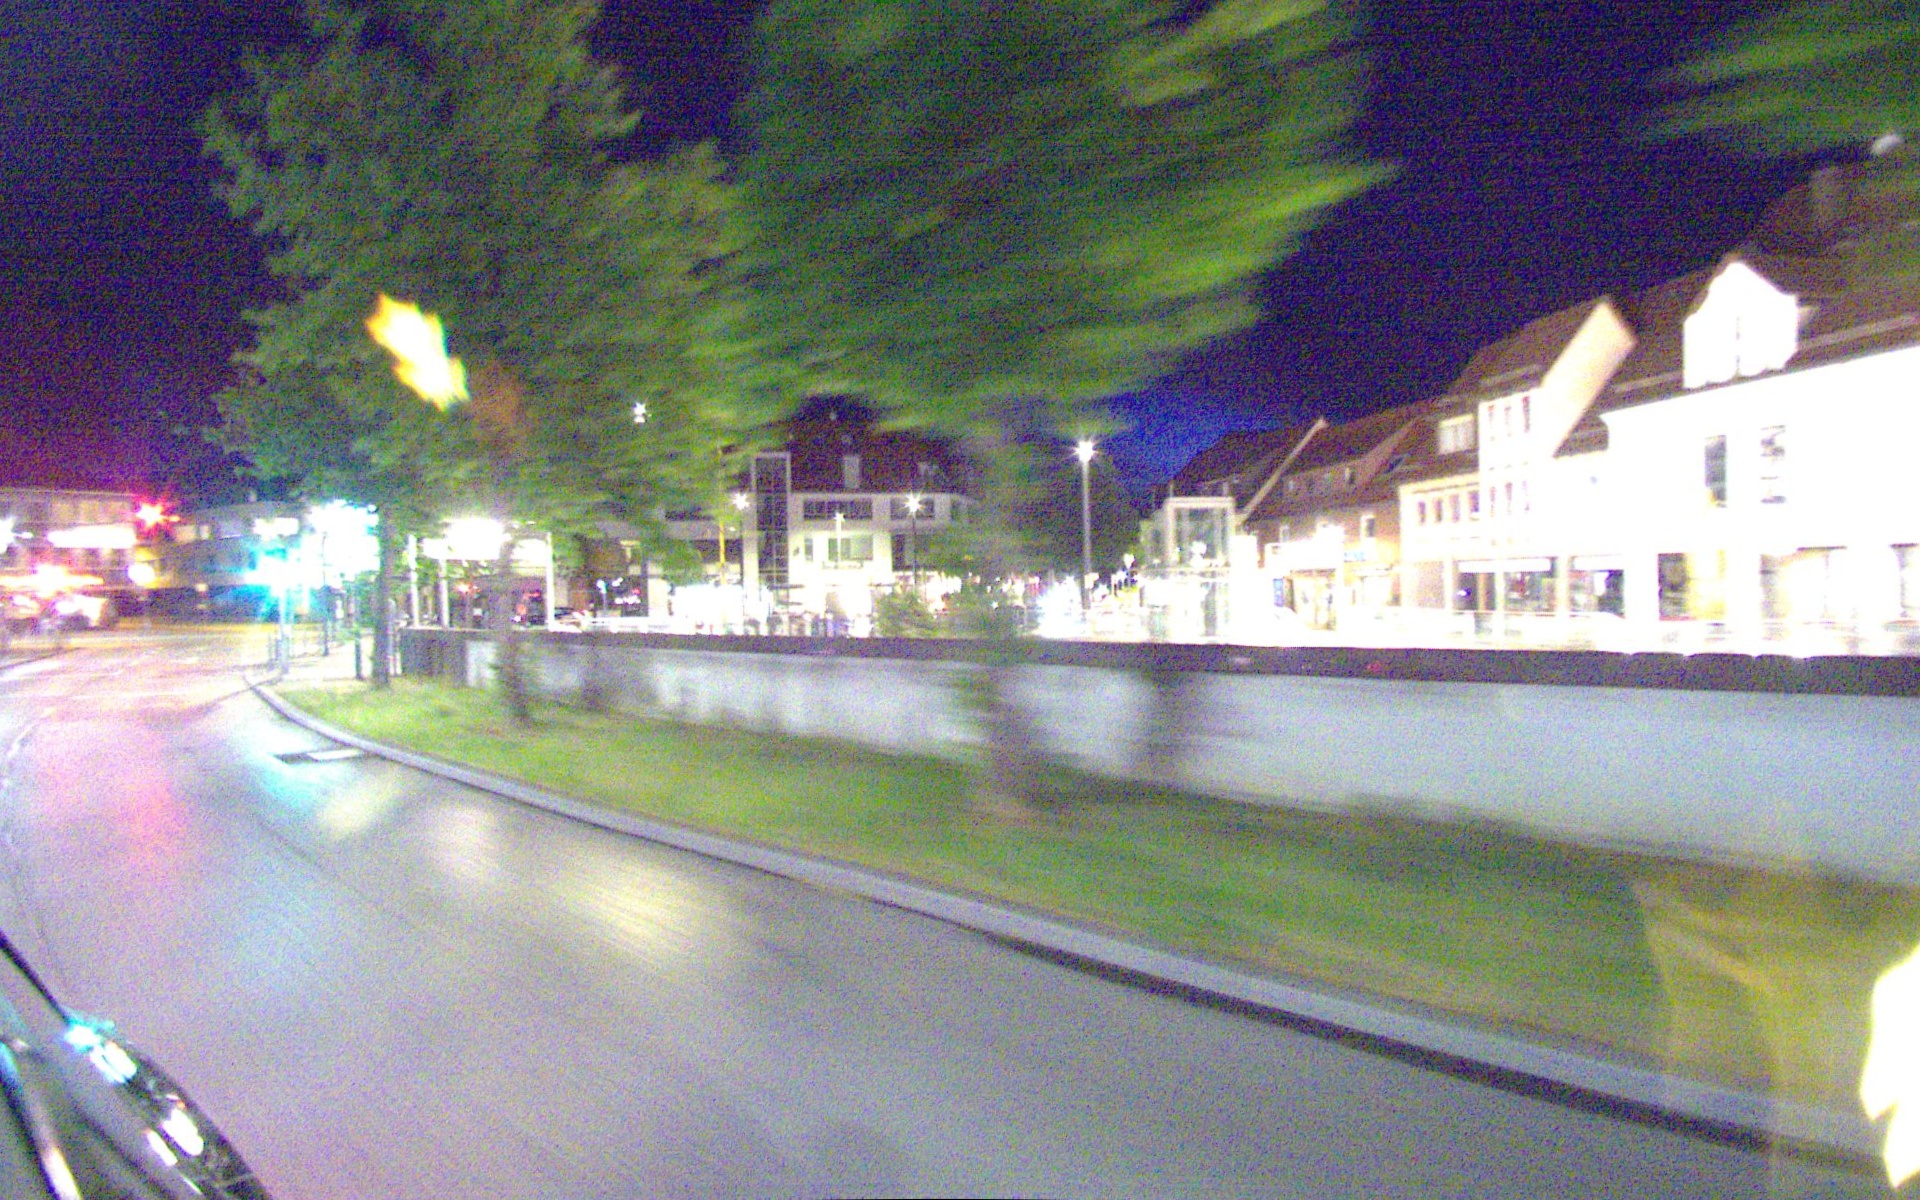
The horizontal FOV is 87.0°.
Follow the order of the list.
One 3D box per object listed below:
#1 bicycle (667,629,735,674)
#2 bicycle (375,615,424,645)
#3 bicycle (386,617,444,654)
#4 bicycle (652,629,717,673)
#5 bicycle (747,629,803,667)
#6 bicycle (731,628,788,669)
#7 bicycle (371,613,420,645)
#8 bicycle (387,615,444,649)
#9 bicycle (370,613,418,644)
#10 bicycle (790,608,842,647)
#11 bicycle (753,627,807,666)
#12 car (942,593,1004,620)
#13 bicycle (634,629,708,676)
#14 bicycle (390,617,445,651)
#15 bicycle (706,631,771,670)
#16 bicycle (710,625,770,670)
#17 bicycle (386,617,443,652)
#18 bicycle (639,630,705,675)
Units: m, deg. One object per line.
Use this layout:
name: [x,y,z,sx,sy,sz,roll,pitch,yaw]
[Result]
bicycle: [-6.916,1.371,27.015,1.735,1.174,0.604,-2,-2,23]
bicycle: [-24.513,1.297,44.288,1.808,1.166,0.789,-4,2,-30]
bicycle: [-17.705,1.147,32.886,1.594,1.114,0.672,-1,1,-36]
bicycle: [-7.610,1.418,27.971,1.735,1.174,0.604,-2,-2,23]
bicycle: [-5.520,1.431,30.114,1.744,1.109,0.601,-3,-2,37]
bicycle: [-5.823,1.403,29.362,1.744,1.133,0.601,-3,-2,37]
bicycle: [-23.480,1.195,42.118,1.711,1.175,0.789,-4,0,-30]
bicycle: [-19.666,1.138,36.578,1.745,1.173,0.672,0,-1,-36]
bicycle: [-23.963,1.201,42.842,1.711,1.166,0.789,-4,2,-30]
bicycle: [-4.678,0.898,32.799,1.744,1.228,0.601,-3,-2,37]
bicycle: [-5.538,1.420,31.065,1.744,1.174,0.601,-3,-2,37]
car: [0.967,0.488,78.152,4.341,1.952,1.967,0,-2,-21]
bicycle: [-7.414,1.350,25.939,1.735,1.171,0.755,-2,-2,23]
bicycle: [-18.633,1.161,34.759,1.594,1.114,0.672,-1,0,-36]
bicycle: [-6.291,1.424,28.758,1.733,1.078,0.605,-2,-2,19]
bicycle: [-6.028,1.300,27.692,1.744,1.174,0.601,-3,-2,38]
bicycle: [-18.339,1.142,34.046,1.594,1.114,0.672,-1,0,-36]
bicycle: [-7.634,1.385,26.792,1.735,1.163,0.541,-2,-2,23]
